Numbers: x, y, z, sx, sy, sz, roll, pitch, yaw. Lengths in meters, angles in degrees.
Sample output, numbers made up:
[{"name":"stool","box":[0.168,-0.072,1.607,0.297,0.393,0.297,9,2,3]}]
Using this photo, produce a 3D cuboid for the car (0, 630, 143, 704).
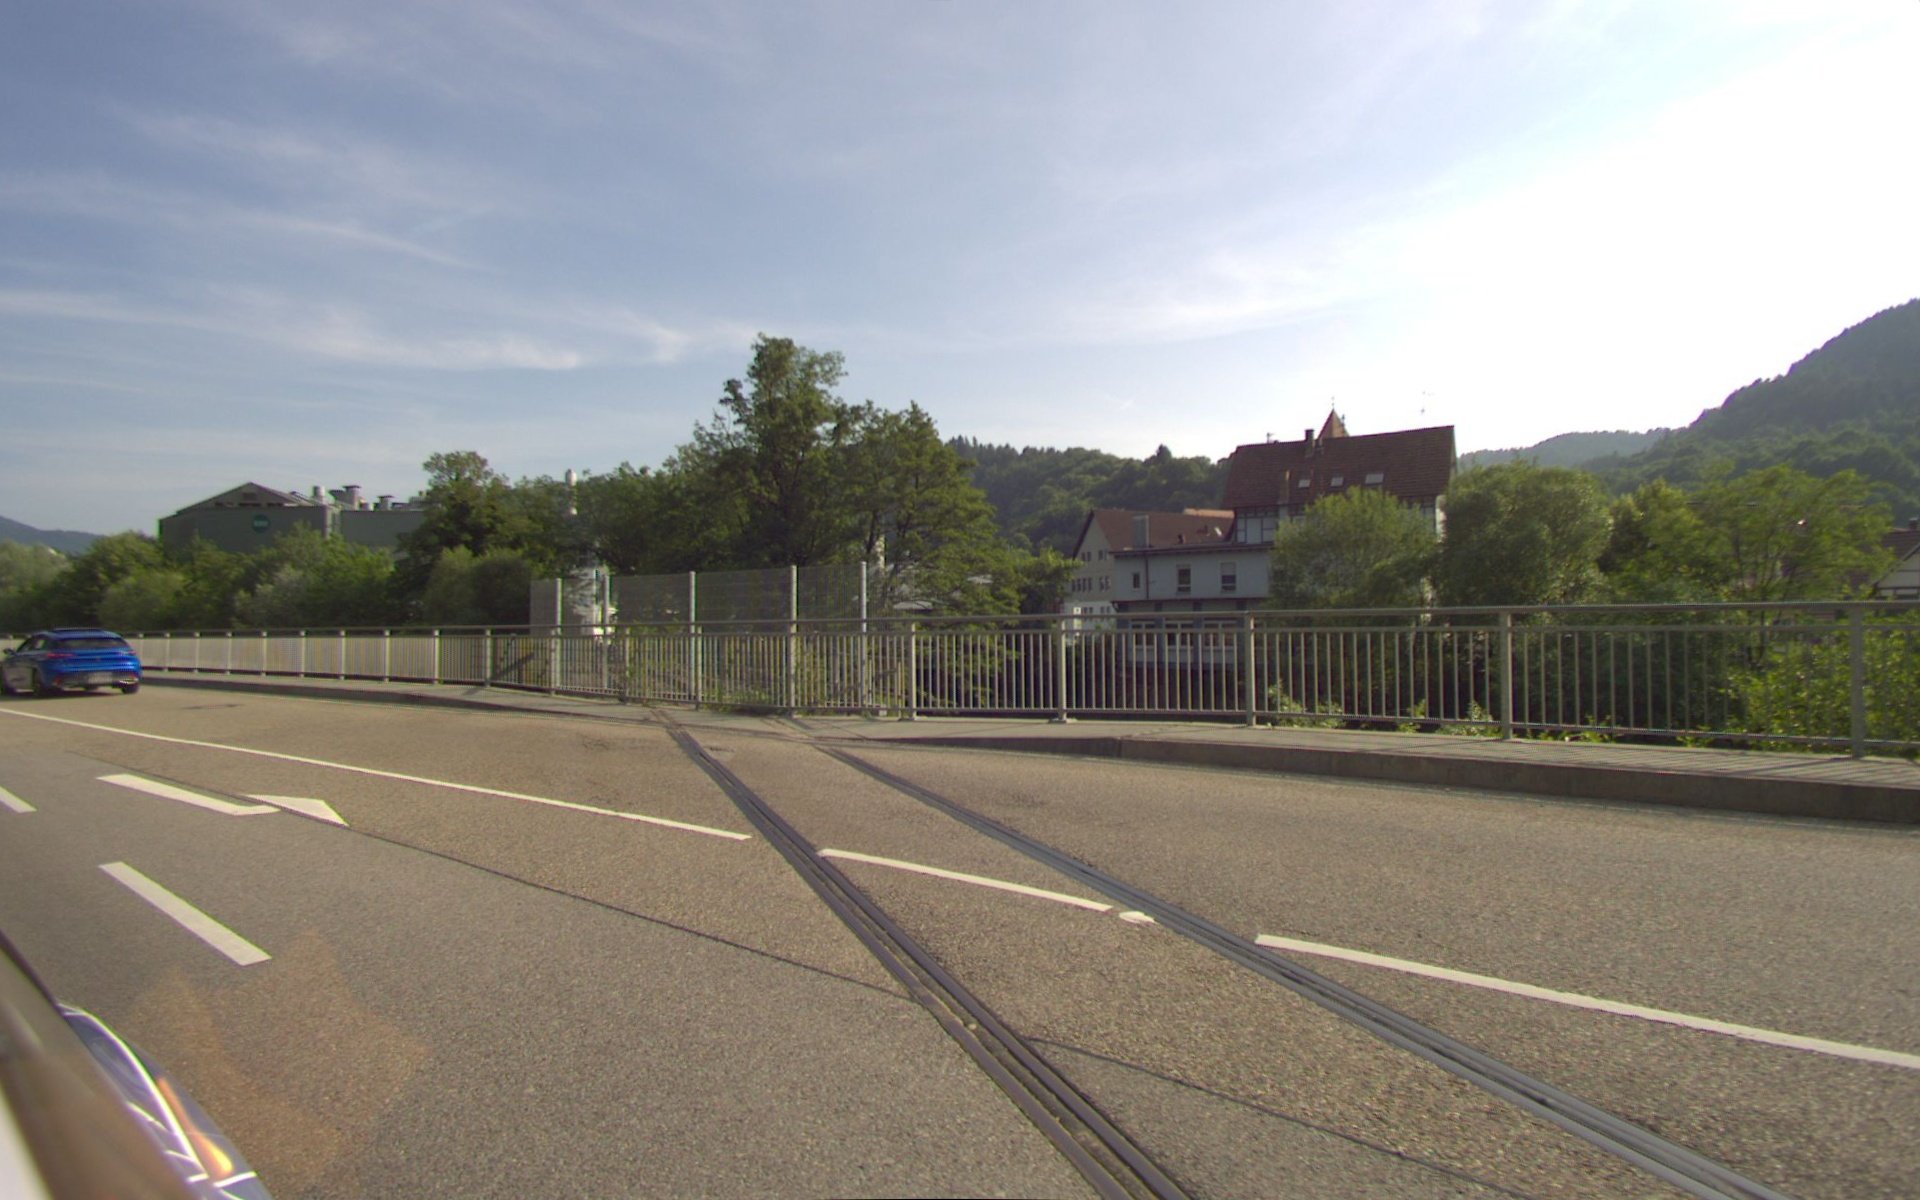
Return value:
[{"name":"car","box":[-20.289,1.458,22.847,4.516,1.493,1.766,-2,-1,36]}]
